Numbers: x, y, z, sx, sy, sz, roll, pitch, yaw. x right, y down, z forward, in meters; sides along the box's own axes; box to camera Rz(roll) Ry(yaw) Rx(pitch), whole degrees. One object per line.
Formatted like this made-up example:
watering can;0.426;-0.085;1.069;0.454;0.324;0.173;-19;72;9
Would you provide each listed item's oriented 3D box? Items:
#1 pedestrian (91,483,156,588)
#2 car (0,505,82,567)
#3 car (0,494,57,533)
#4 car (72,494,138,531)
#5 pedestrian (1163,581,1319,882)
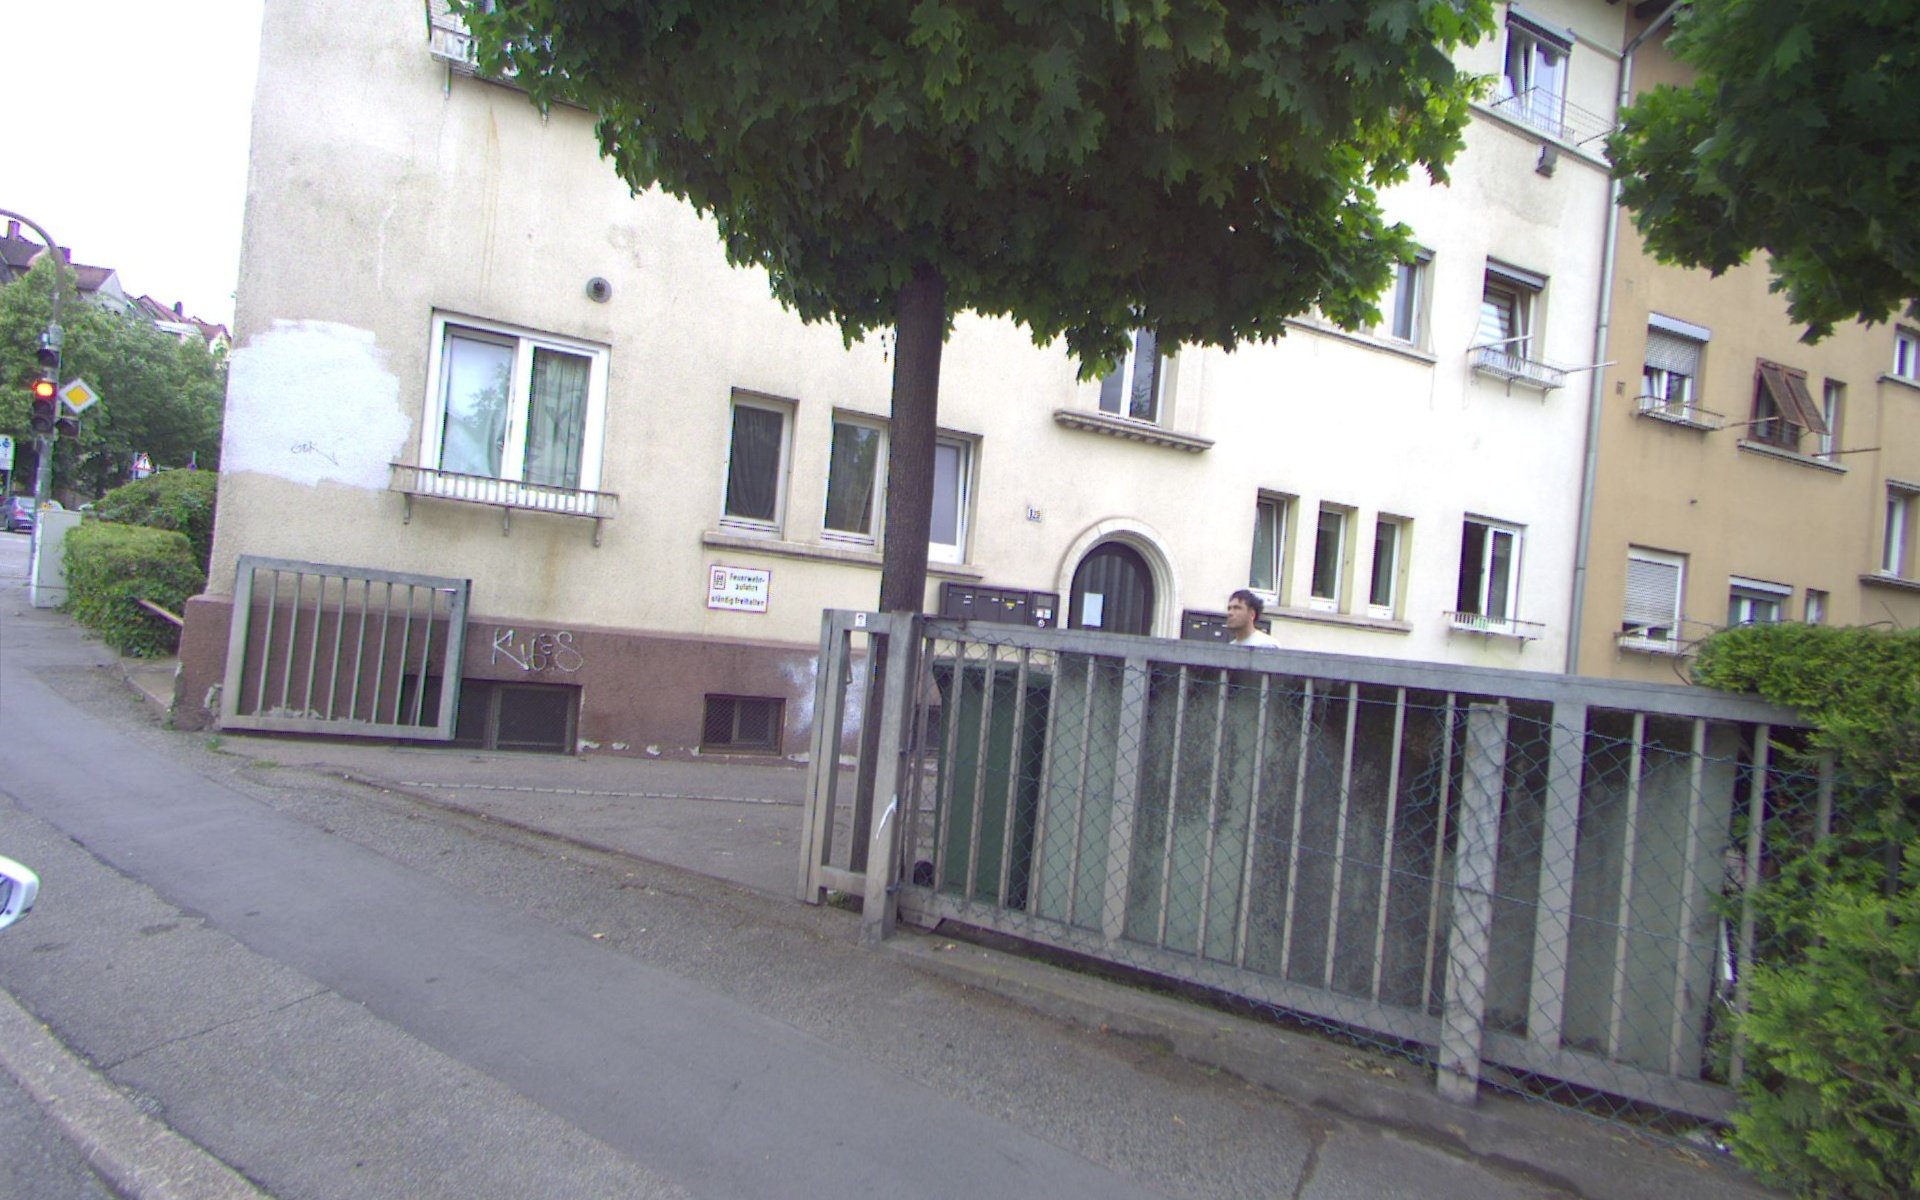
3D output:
pedestrian;-15.618;-1.199;18.794;0.520;1.840;0.591;7;-2;31
car;-36.521;-2.539;39.610;3.940;2.036;1.995;5;-3;37
car;-60.866;-5.630;64.927;1.970;2.036;3.992;8;-3;-15
car;-63.137;-6.435;74.376;1.970;2.036;3.992;8;-3;-15
pedestrian;1.793;0.806;6.402;0.683;1.758;0.467;7;-1;28
